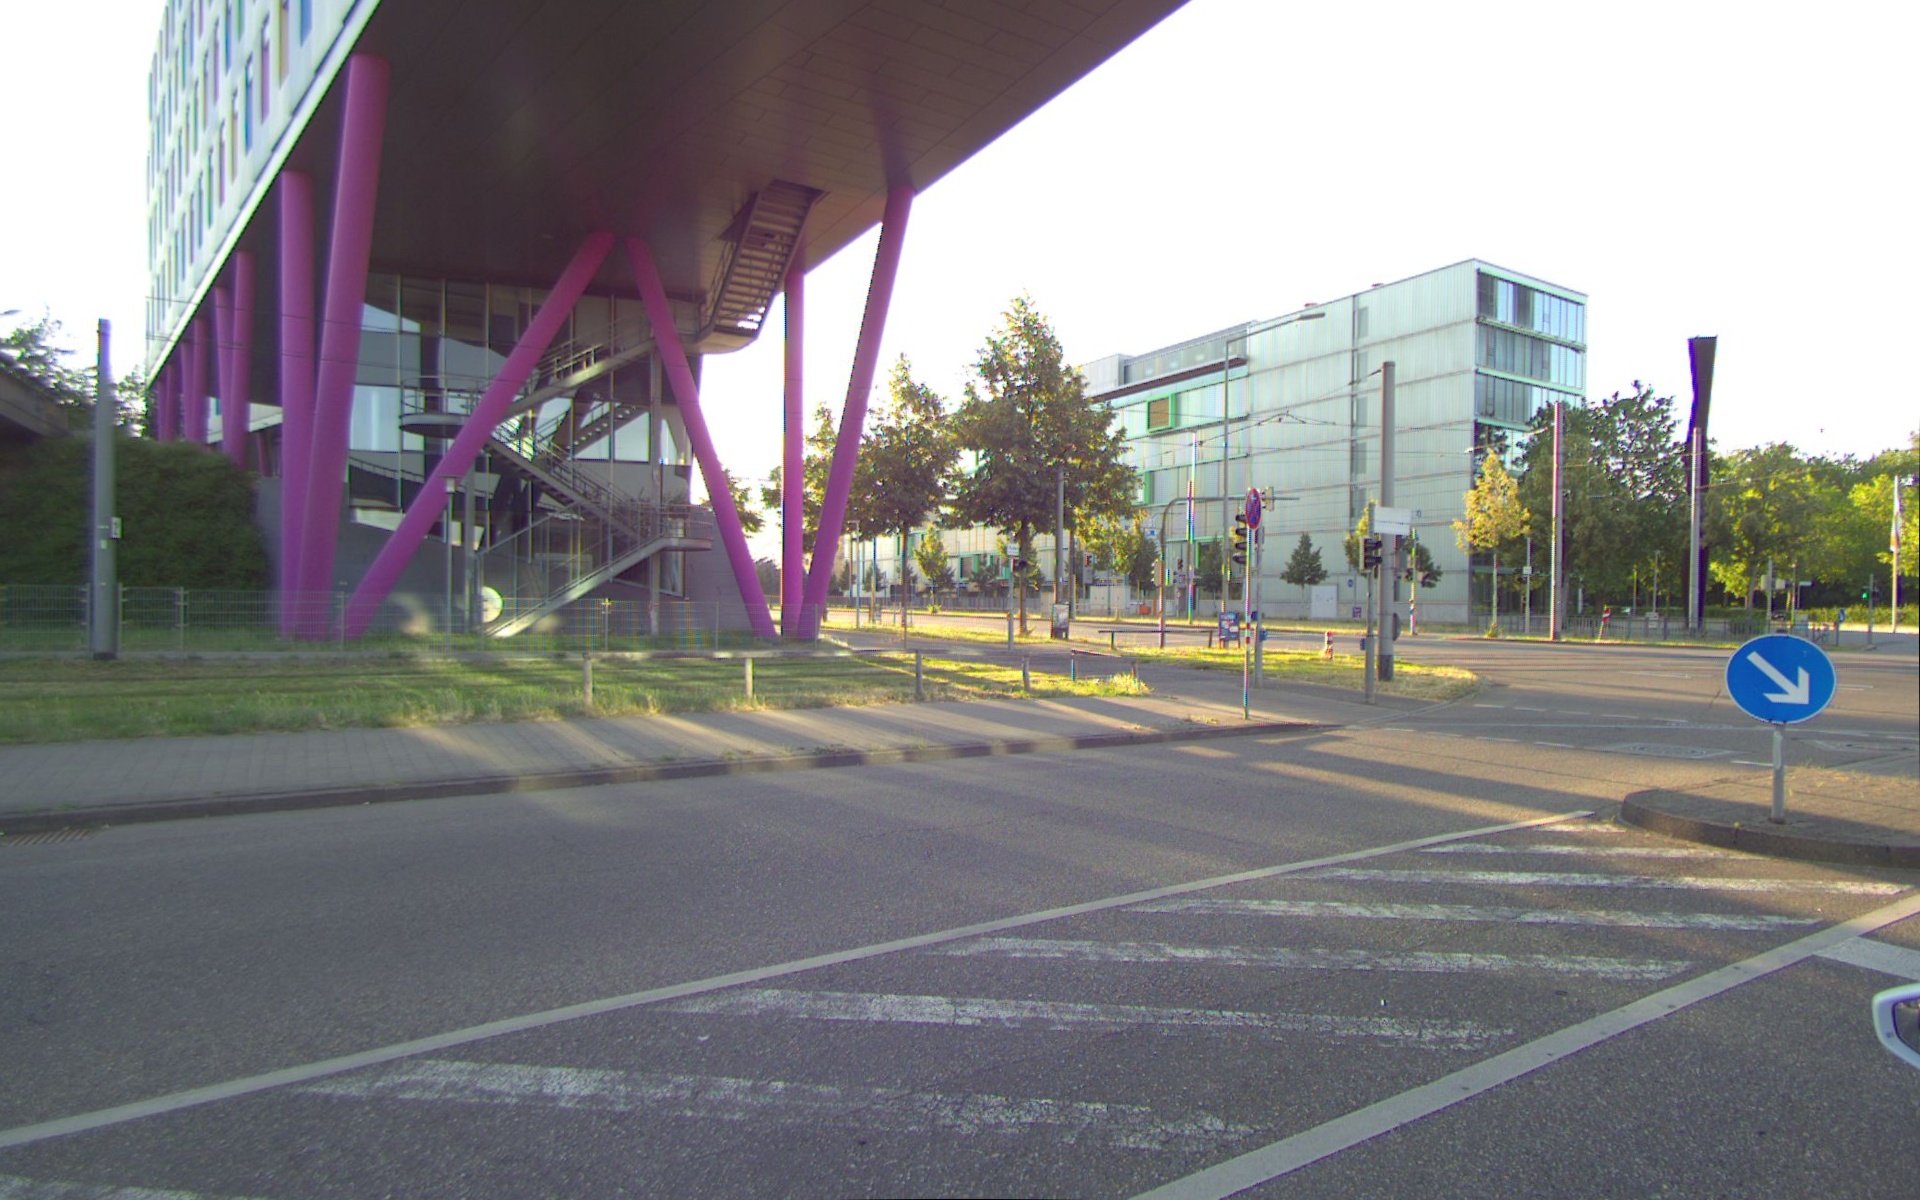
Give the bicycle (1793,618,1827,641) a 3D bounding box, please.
[{"bbox_3d":[43.766,1.490,51.696,2.367,1.151,0.695,1,0,-33],"label":"bicycle"}]
